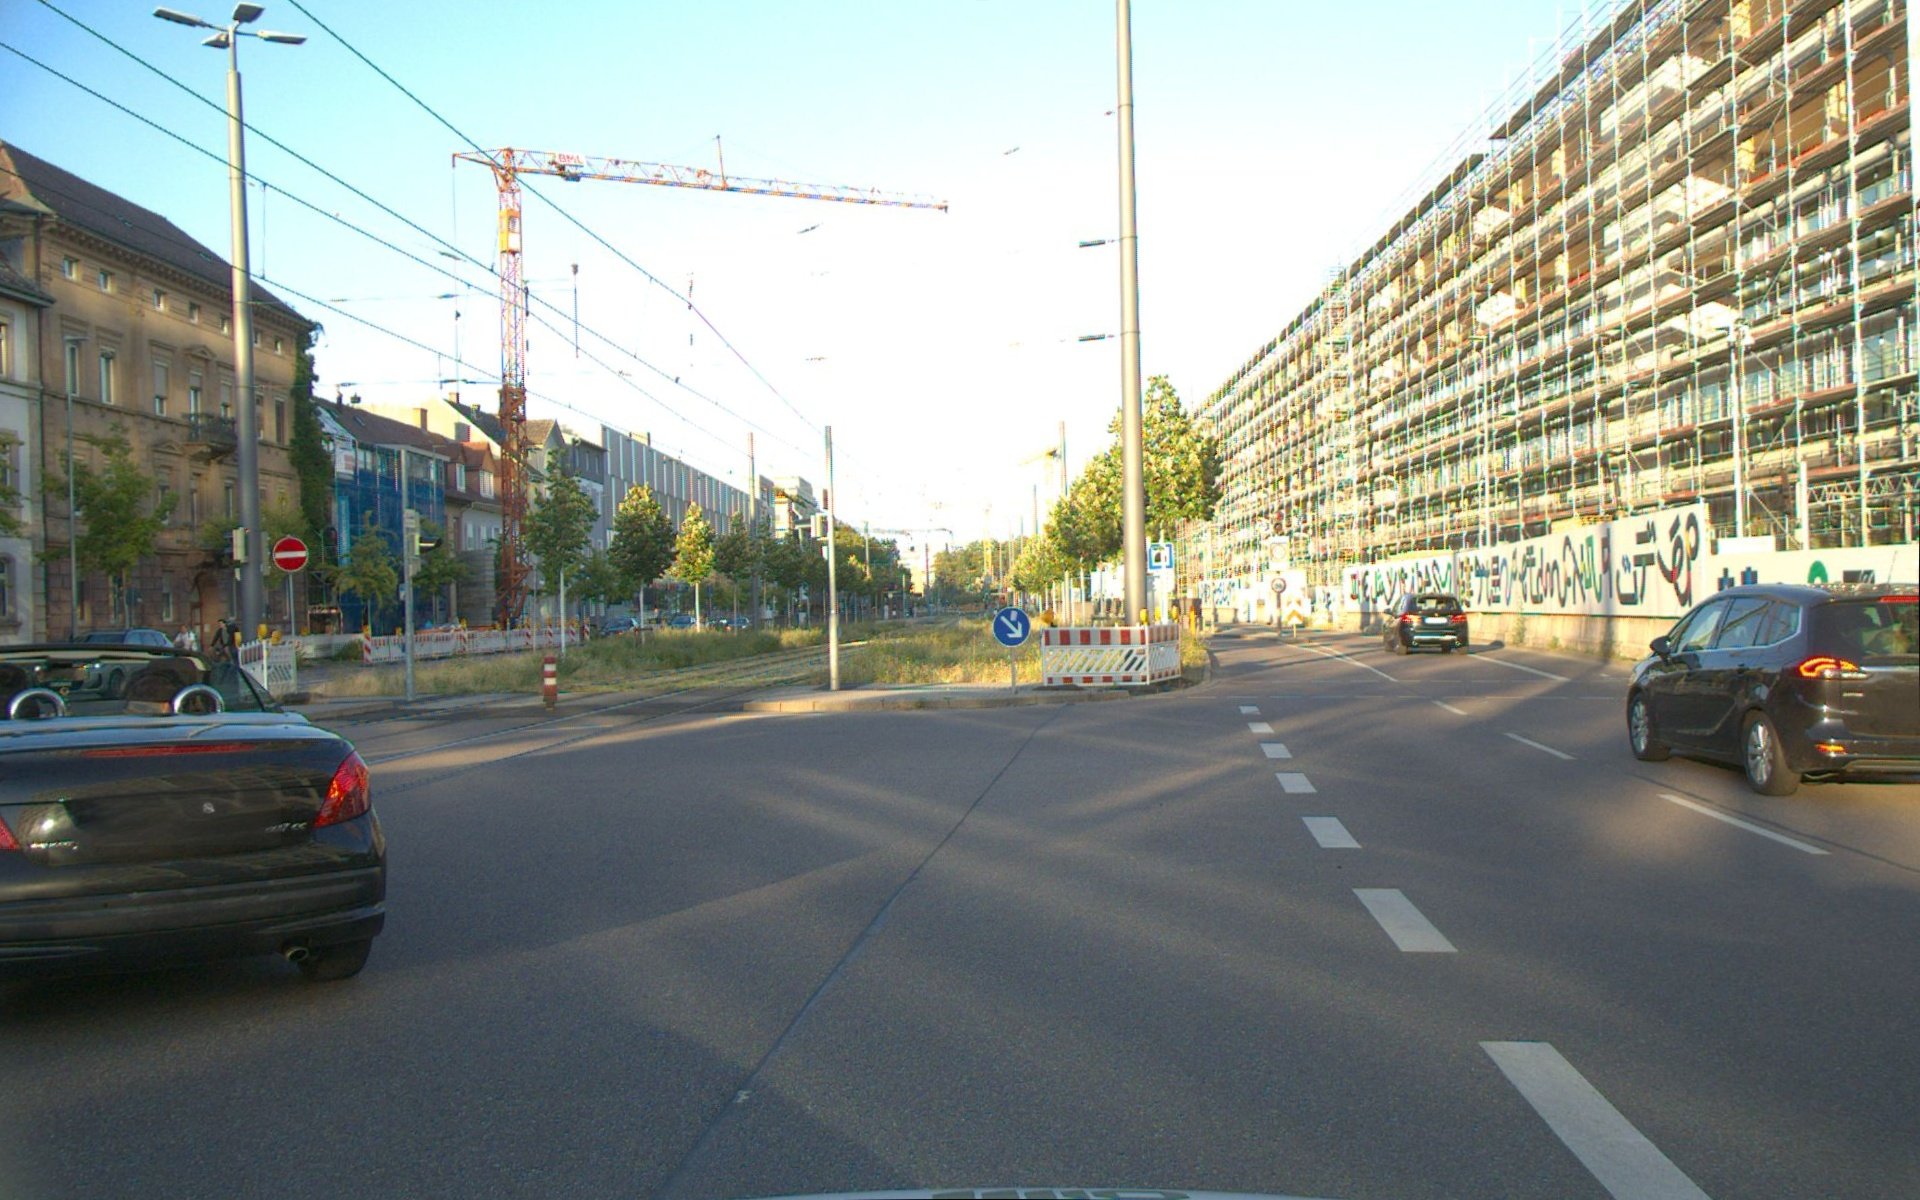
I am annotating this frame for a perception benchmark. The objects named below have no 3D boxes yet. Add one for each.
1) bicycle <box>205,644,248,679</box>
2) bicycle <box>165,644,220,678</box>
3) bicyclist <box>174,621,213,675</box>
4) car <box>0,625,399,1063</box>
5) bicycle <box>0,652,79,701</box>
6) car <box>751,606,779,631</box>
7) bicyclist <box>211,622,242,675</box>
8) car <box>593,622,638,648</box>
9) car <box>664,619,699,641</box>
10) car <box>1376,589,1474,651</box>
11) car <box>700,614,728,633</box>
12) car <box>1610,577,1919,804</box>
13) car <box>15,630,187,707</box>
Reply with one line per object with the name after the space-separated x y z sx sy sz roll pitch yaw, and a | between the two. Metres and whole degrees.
-22.464 1.879 50.644 0.577 0.992 1.556 0 0 2 | bicycle
-23.420 1.864 50.520 0.756 0.961 1.641 0 0 7 | bicycle
-23.414 1.461 50.523 0.756 1.598 0.793 0 0 7 | bicyclist
-3.958 0.833 7.317 1.662 1.376 3.947 0 0 -37 | car
-24.010 1.975 43.034 0.830 1.143 2.414 0 0 1 | bicycle
-16.090 1.534 136.719 1.623 1.998 4.267 0 0 2 | car
-22.459 1.475 50.649 0.577 1.597 0.711 0 0 2 | bicyclist
-20.030 2.021 96.299 1.623 1.456 3.896 0 0 2 | car
-19.162 2.042 113.947 1.623 1.456 3.896 0 0 2 | car
12.115 0.493 43.370 1.782 1.545 4.795 0 0 7 | car
-20.312 1.917 136.624 1.623 1.456 3.896 0 0 2 | car
7.132 0.642 14.009 1.784 1.626 4.369 0 0 4 | car
-21.101 1.641 40.851 1.952 1.607 4.125 -3 0 1 | car
